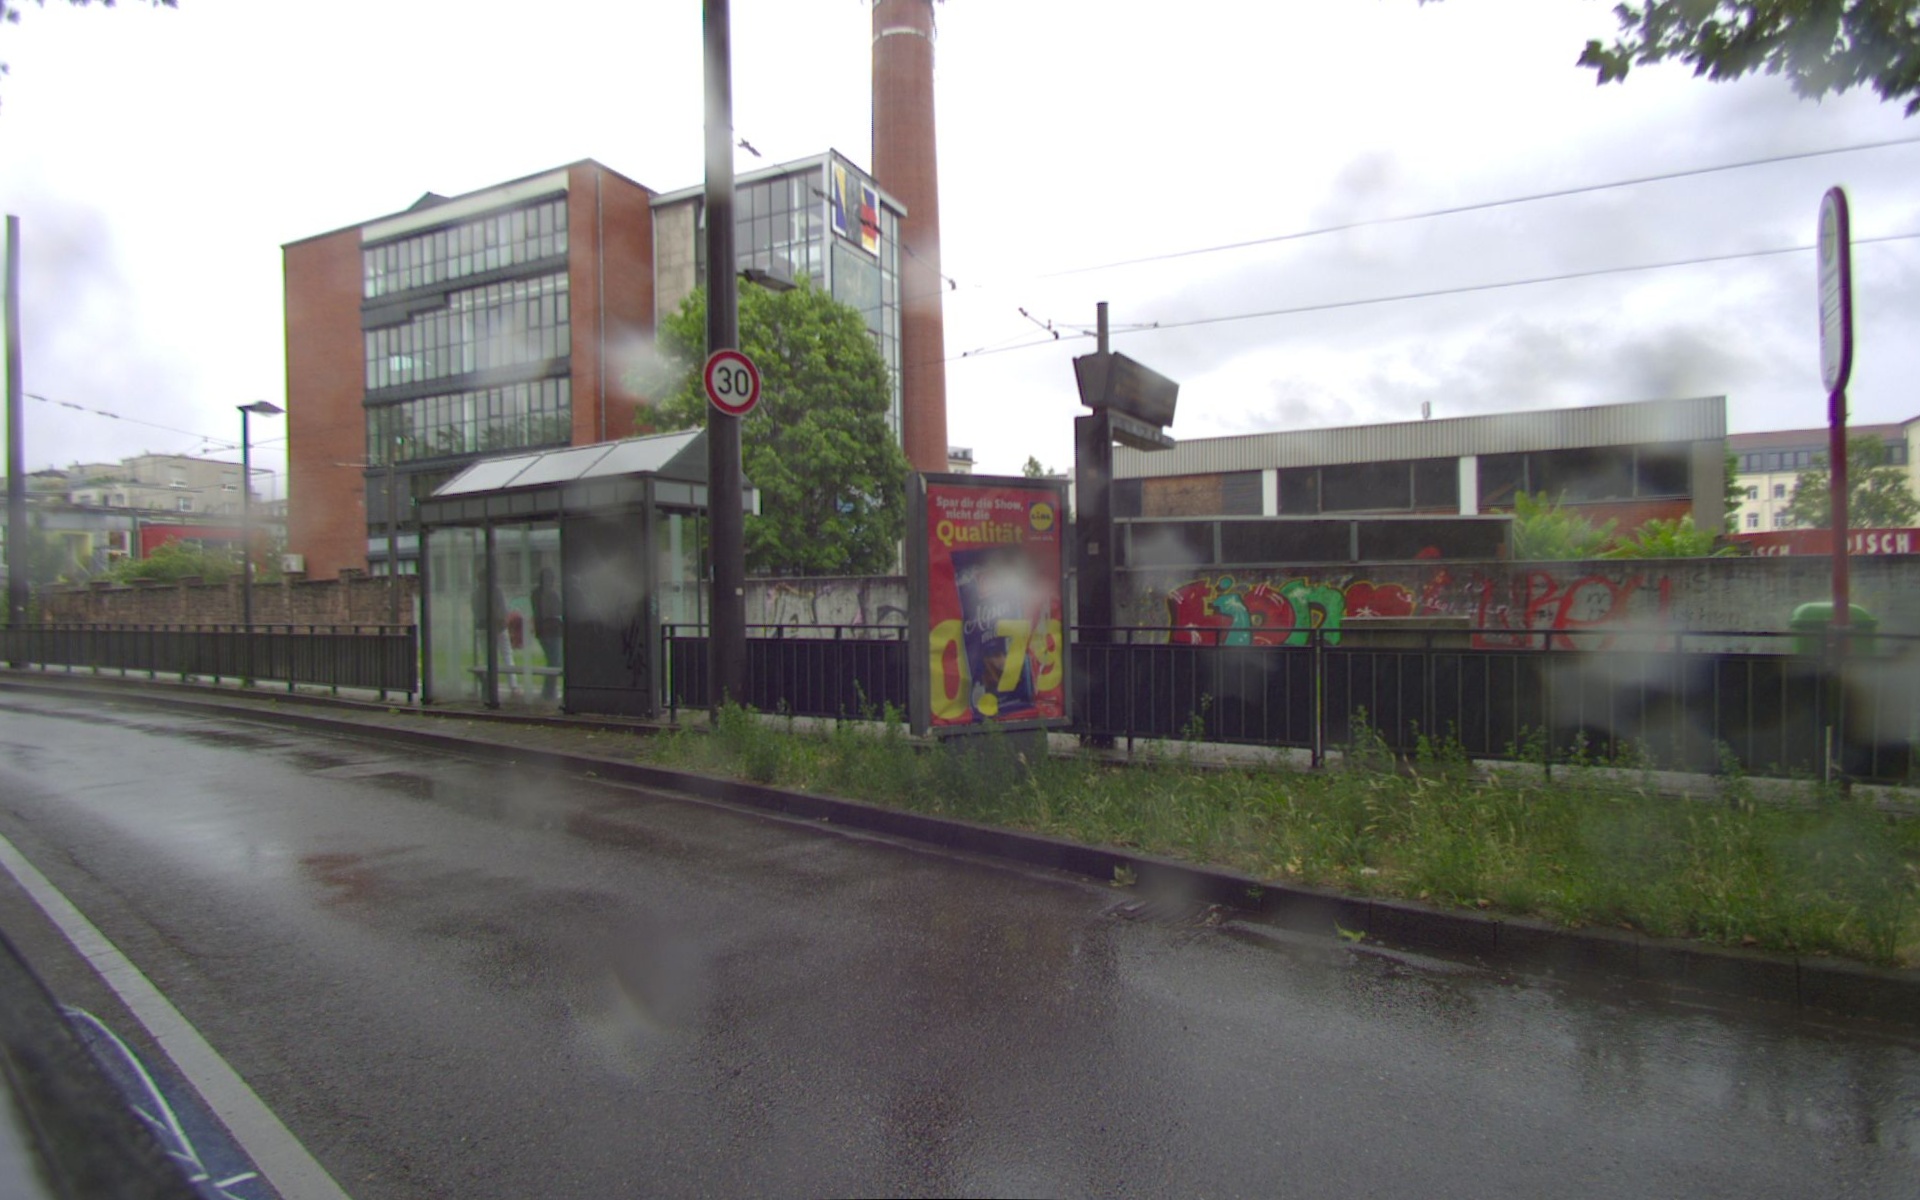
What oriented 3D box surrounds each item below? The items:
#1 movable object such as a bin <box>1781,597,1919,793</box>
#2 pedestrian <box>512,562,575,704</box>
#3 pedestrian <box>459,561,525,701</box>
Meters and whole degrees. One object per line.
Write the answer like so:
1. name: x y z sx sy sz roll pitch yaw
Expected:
1. movable object such as a bin: 5.251 0.540 5.965 0.528 1.098 0.414 -1 -2 25
2. pedestrian: -5.238 0.406 12.751 0.560 1.744 0.583 0 -2 -3
3. pedestrian: -5.975 0.398 12.943 0.560 1.744 0.583 0 -2 -1
